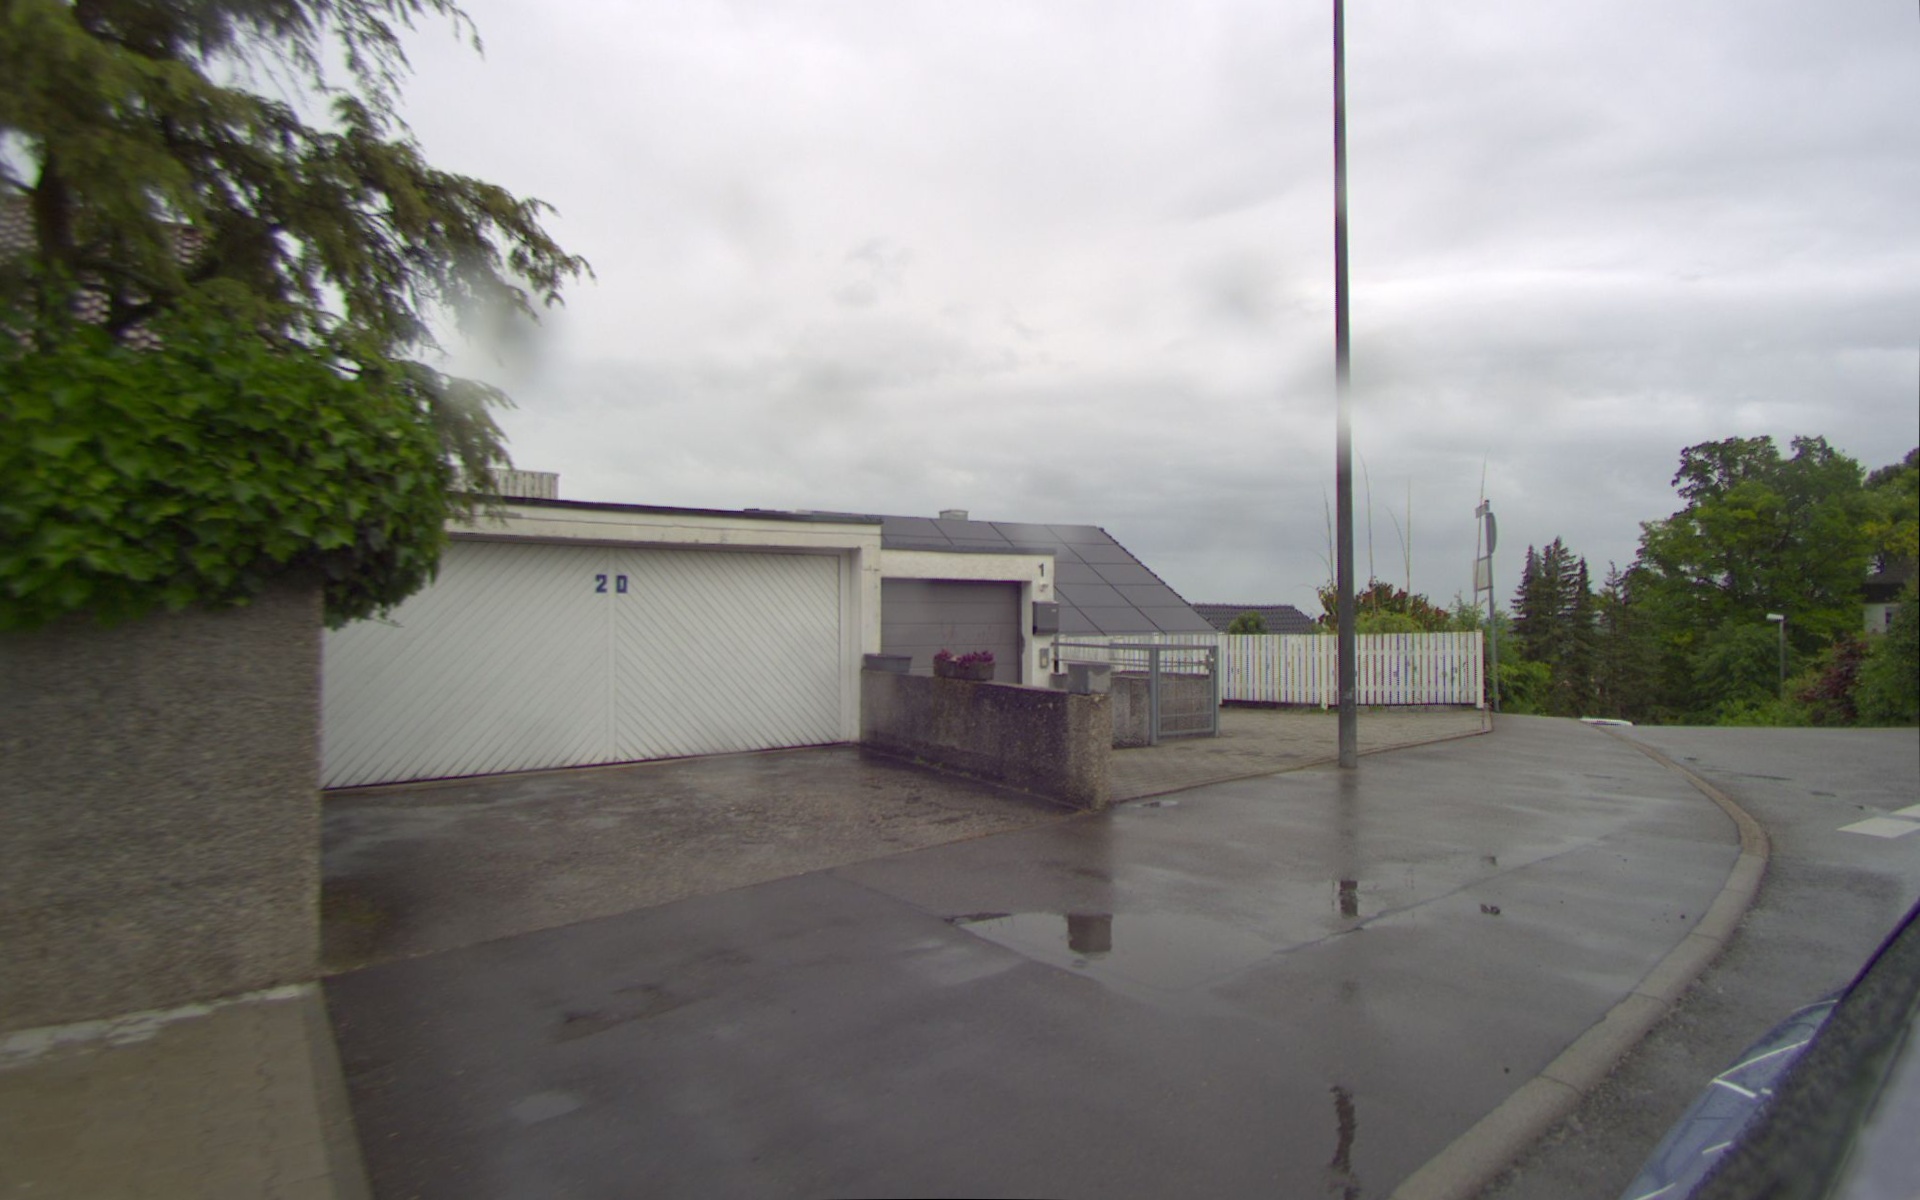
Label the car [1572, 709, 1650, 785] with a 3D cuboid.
[{"bbox_3d":[19.265,4.410,30.070,1.740,1.765,3.953,-1,-13,31],"label":"car"}]
